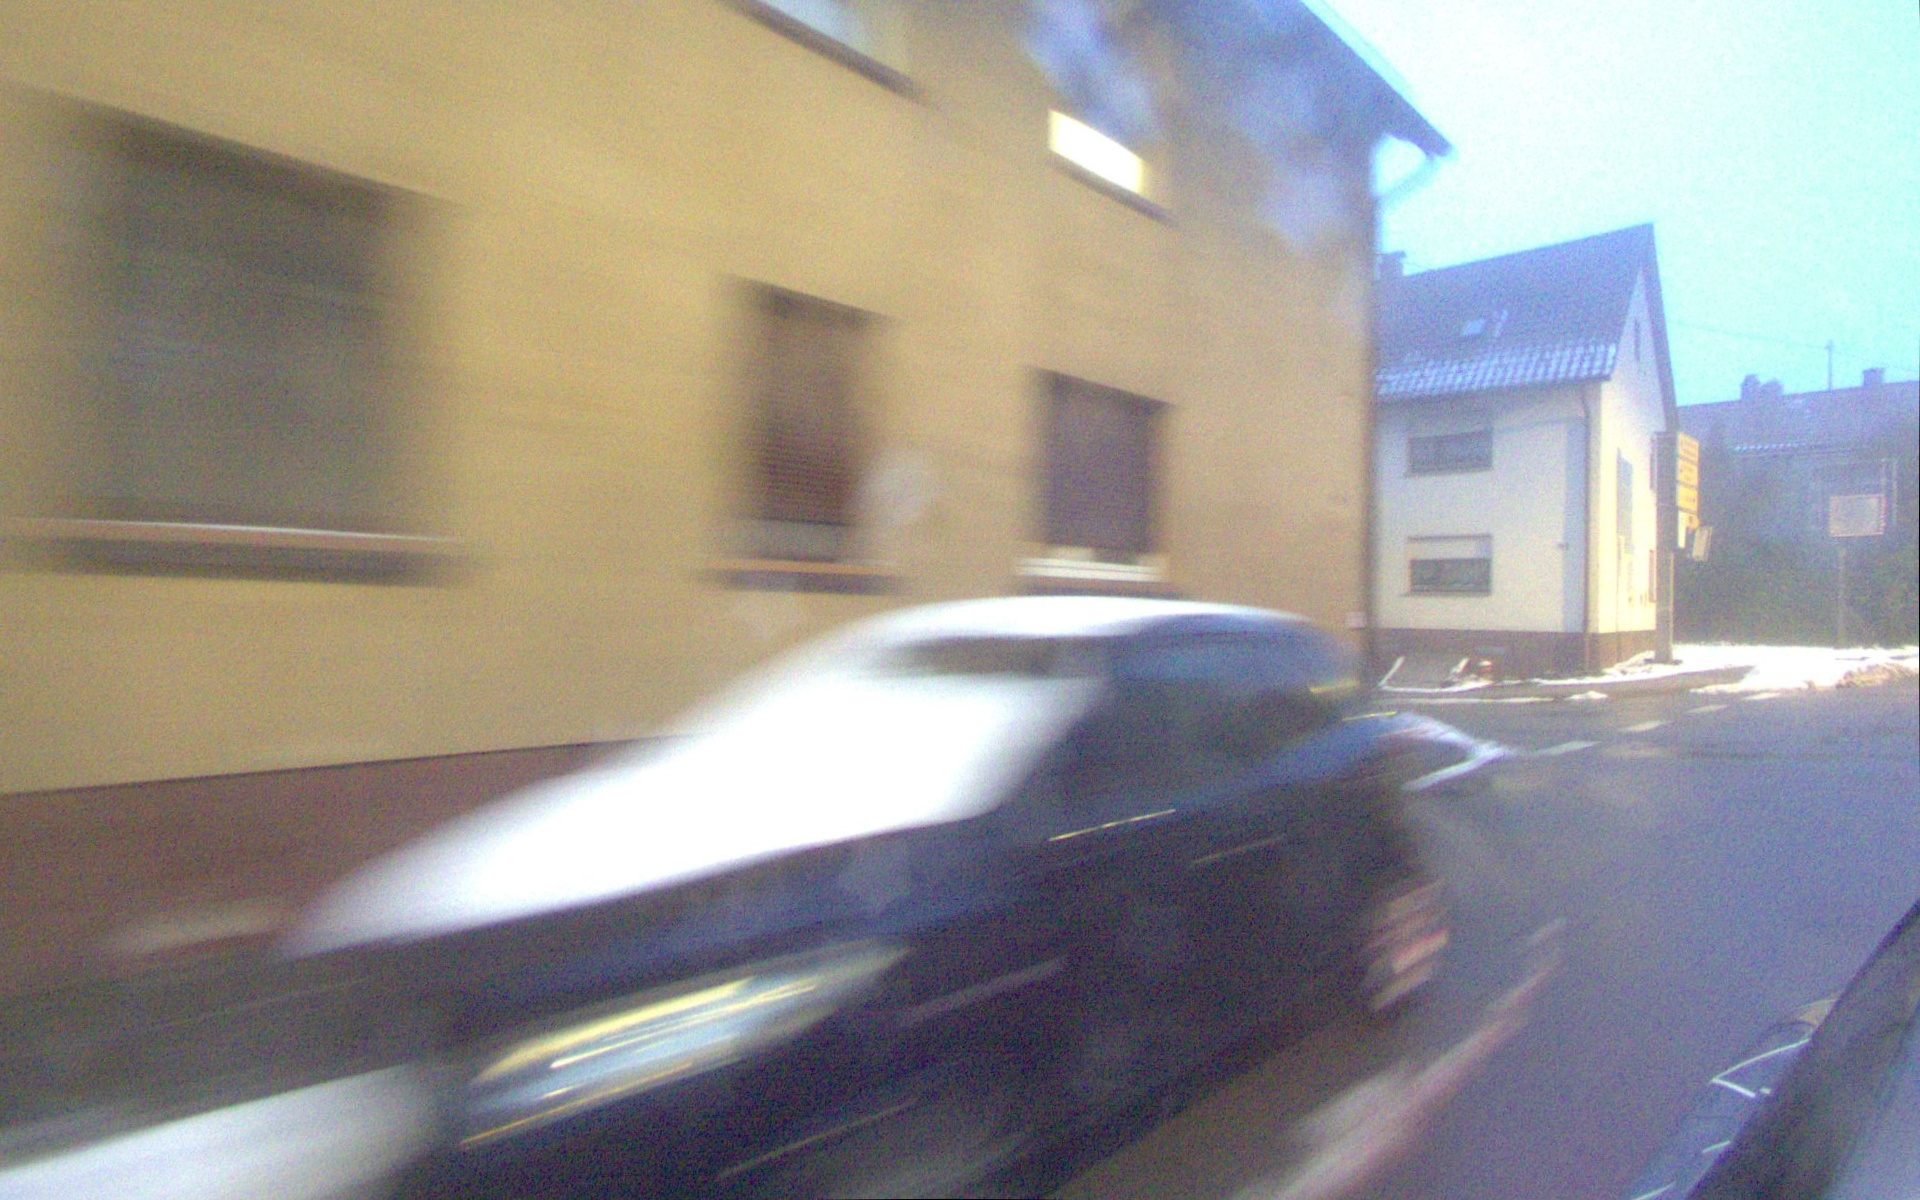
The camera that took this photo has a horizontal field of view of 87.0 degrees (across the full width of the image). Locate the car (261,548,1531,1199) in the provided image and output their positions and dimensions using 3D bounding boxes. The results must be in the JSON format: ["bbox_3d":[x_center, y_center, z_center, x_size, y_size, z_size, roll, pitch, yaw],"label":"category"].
[{"bbox_3d":[0.154,0.664,3.264,3.838,1.518,1.720,0,1,-40],"label":"car"}]
